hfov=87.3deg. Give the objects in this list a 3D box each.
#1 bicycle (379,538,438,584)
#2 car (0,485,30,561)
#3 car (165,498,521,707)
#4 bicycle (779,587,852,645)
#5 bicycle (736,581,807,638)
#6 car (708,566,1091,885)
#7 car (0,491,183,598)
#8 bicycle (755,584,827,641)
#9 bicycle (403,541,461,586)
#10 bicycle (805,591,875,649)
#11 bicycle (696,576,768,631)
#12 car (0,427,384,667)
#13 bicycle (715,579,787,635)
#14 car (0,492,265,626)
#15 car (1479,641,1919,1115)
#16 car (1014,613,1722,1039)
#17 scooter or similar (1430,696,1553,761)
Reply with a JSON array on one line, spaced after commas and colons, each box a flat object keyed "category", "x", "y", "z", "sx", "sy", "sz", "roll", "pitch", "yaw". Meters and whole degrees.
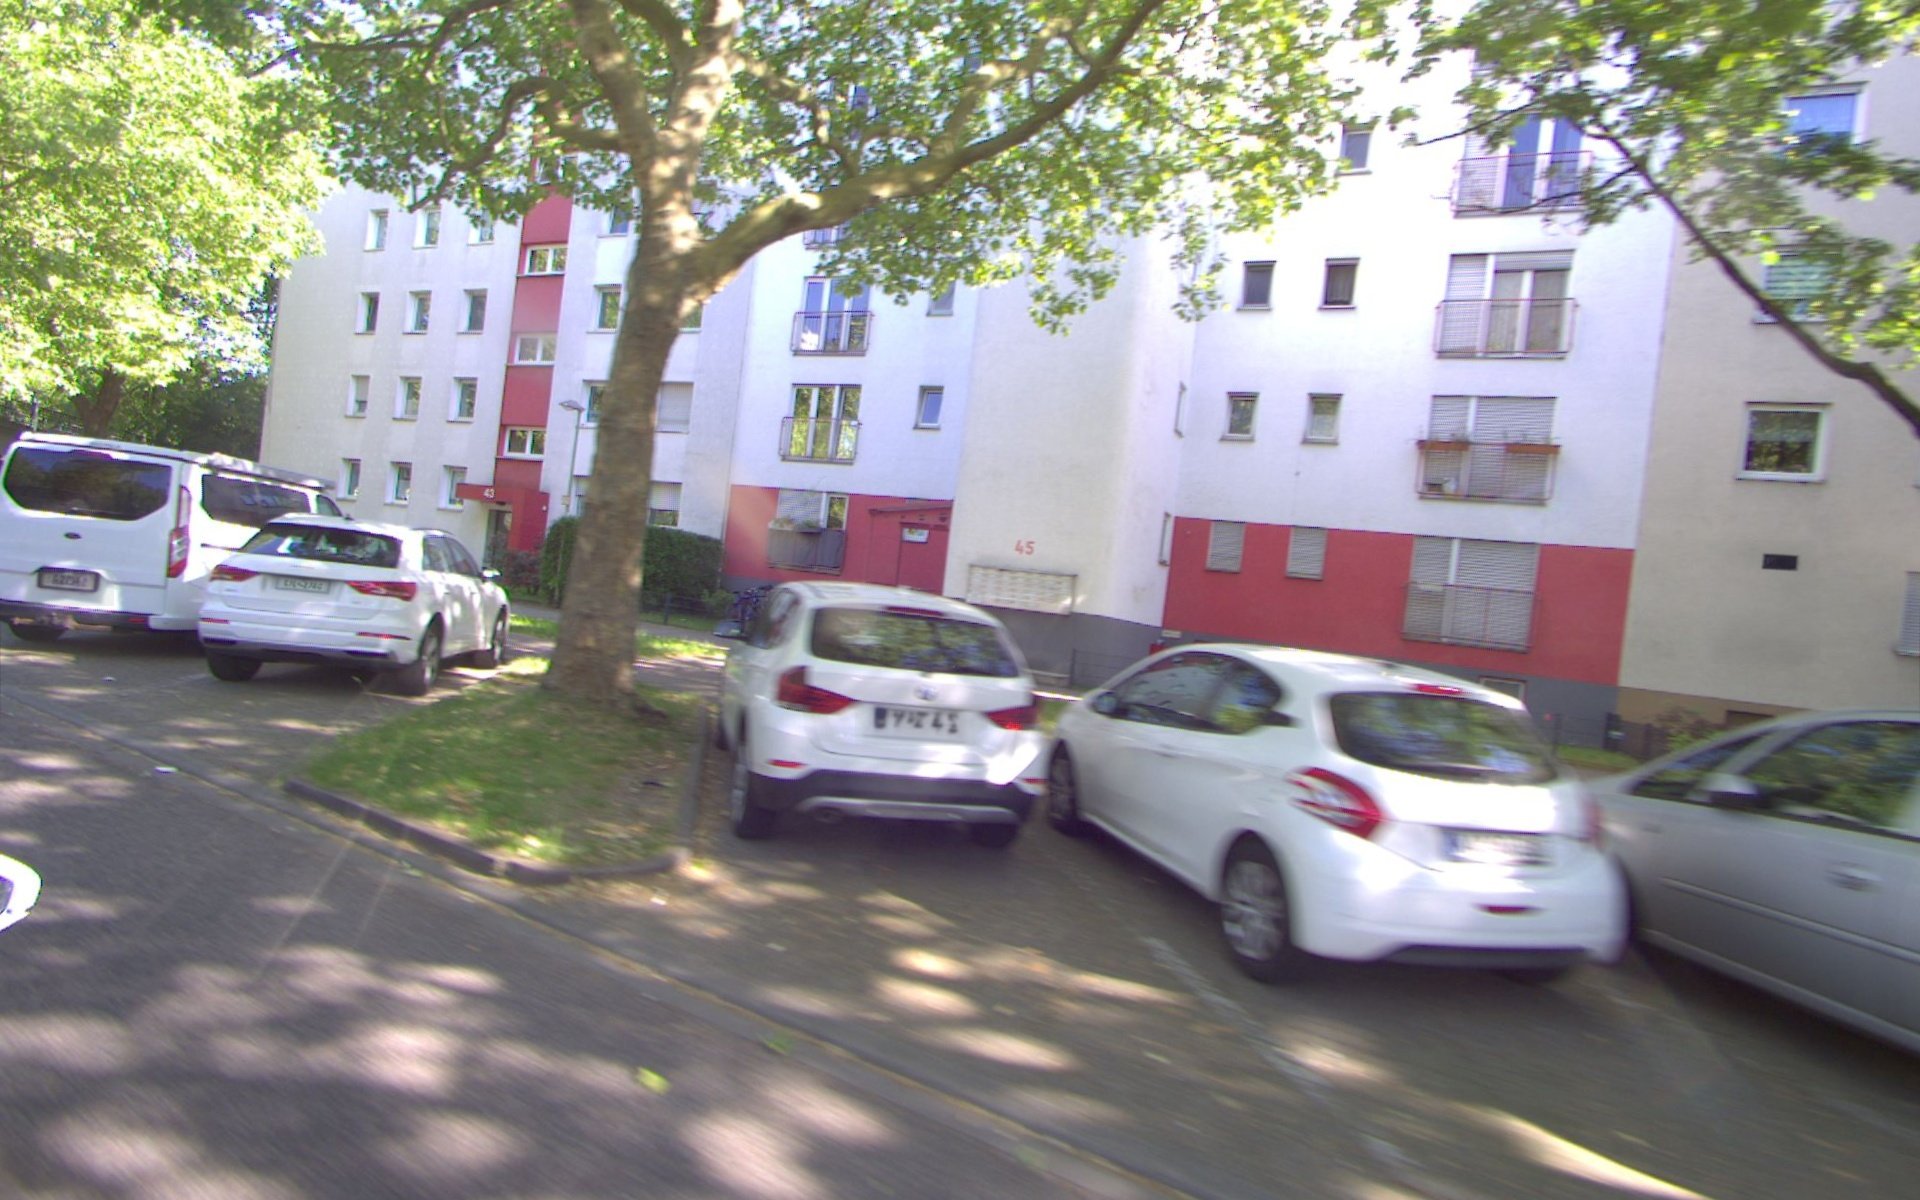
[{"category": "bicycle", "x": -16.027, "y": -1.148, "z": 29.210, "sx": 1.770, "sy": 1.121, "sz": 0.591, "roll": 7, "pitch": 0, "yaw": 31}, {"category": "car", "x": -19.503, "y": -1.548, "z": 18.411, "sx": 1.753, "sy": 1.487, "sz": 3.989, "roll": 6, "pitch": 1, "yaw": -12}, {"category": "car", "x": -6.066, "y": -0.028, "z": 10.513, "sx": 1.802, "sy": 1.601, "sz": 4.046, "roll": 6, "pitch": 1, "yaw": -12}, {"category": "bicycle", "x": -3.079, "y": 0.350, "z": 21.573, "sx": 0.540, "sy": 1.145, "sz": 1.796, "roll": 7, "pitch": 3, "yaw": 26}, {"category": "bicycle", "x": -4.117, "y": 0.216, "z": 22.102, "sx": 0.491, "sy": 1.145, "sz": 1.796, "roll": 7, "pitch": 3, "yaw": 26}, {"category": "car", "x": -0.780, "y": 0.635, "z": 7.305, "sx": 1.772, "sy": 1.530, "sz": 4.195, "roll": 6, "pitch": 1, "yaw": -16}, {"category": "car", "x": -14.210, "y": -0.901, "z": 15.636, "sx": 1.770, "sy": 1.435, "sz": 3.912, "roll": 6, "pitch": 1, "yaw": -12}, {"category": "bicycle", "x": -3.653, "y": 0.265, "z": 21.888, "sx": 0.491, "sy": 1.145, "sz": 1.796, "roll": 7, "pitch": 3, "yaw": 26}, {"category": "bicycle", "x": -15.660, "y": -1.085, "z": 29.839, "sx": 1.770, "sy": 1.121, "sz": 0.591, "roll": 7, "pitch": 0, "yaw": 31}, {"category": "bicycle", "x": -2.520, "y": 0.418, "z": 21.278, "sx": 0.491, "sy": 1.145, "sz": 1.796, "roll": 7, "pitch": 3, "yaw": 26}, {"category": "bicycle", "x": -5.095, "y": 0.094, "z": 22.565, "sx": 0.491, "sy": 1.145, "sz": 1.796, "roll": 7, "pitch": 3, "yaw": 26}, {"category": "car", "x": -8.748, "y": -0.578, "z": 11.618, "sx": 1.983, "sy": 2.079, "sz": 4.580, "roll": 6, "pitch": 1, "yaw": -9}, {"category": "bicycle", "x": -4.624, "y": 0.155, "z": 22.341, "sx": 0.491, "sy": 1.145, "sz": 1.796, "roll": 7, "pitch": 3, "yaw": 26}, {"category": "car", "x": -11.555, "y": -0.589, "z": 13.573, "sx": 1.770, "sy": 1.442, "sz": 4.579, "roll": 6, "pitch": 1, "yaw": -10}, {"category": "car", "x": 4.478, "y": 1.211, "z": 4.301, "sx": 1.770, "sy": 1.610, "sz": 3.989, "roll": 6, "pitch": 1, "yaw": -12}, {"category": "car", "x": 1.835, "y": 0.986, "z": 6.025, "sx": 1.803, "sy": 1.438, "sz": 3.986, "roll": 6, "pitch": 1, "yaw": -14}, {"category": "scooter or similar", "x": 7.706, "y": 1.859, "z": 14.635, "sx": 1.354, "sy": 0.703, "sz": 0.702, "roll": 6, "pitch": 1, "yaw": 6}]
